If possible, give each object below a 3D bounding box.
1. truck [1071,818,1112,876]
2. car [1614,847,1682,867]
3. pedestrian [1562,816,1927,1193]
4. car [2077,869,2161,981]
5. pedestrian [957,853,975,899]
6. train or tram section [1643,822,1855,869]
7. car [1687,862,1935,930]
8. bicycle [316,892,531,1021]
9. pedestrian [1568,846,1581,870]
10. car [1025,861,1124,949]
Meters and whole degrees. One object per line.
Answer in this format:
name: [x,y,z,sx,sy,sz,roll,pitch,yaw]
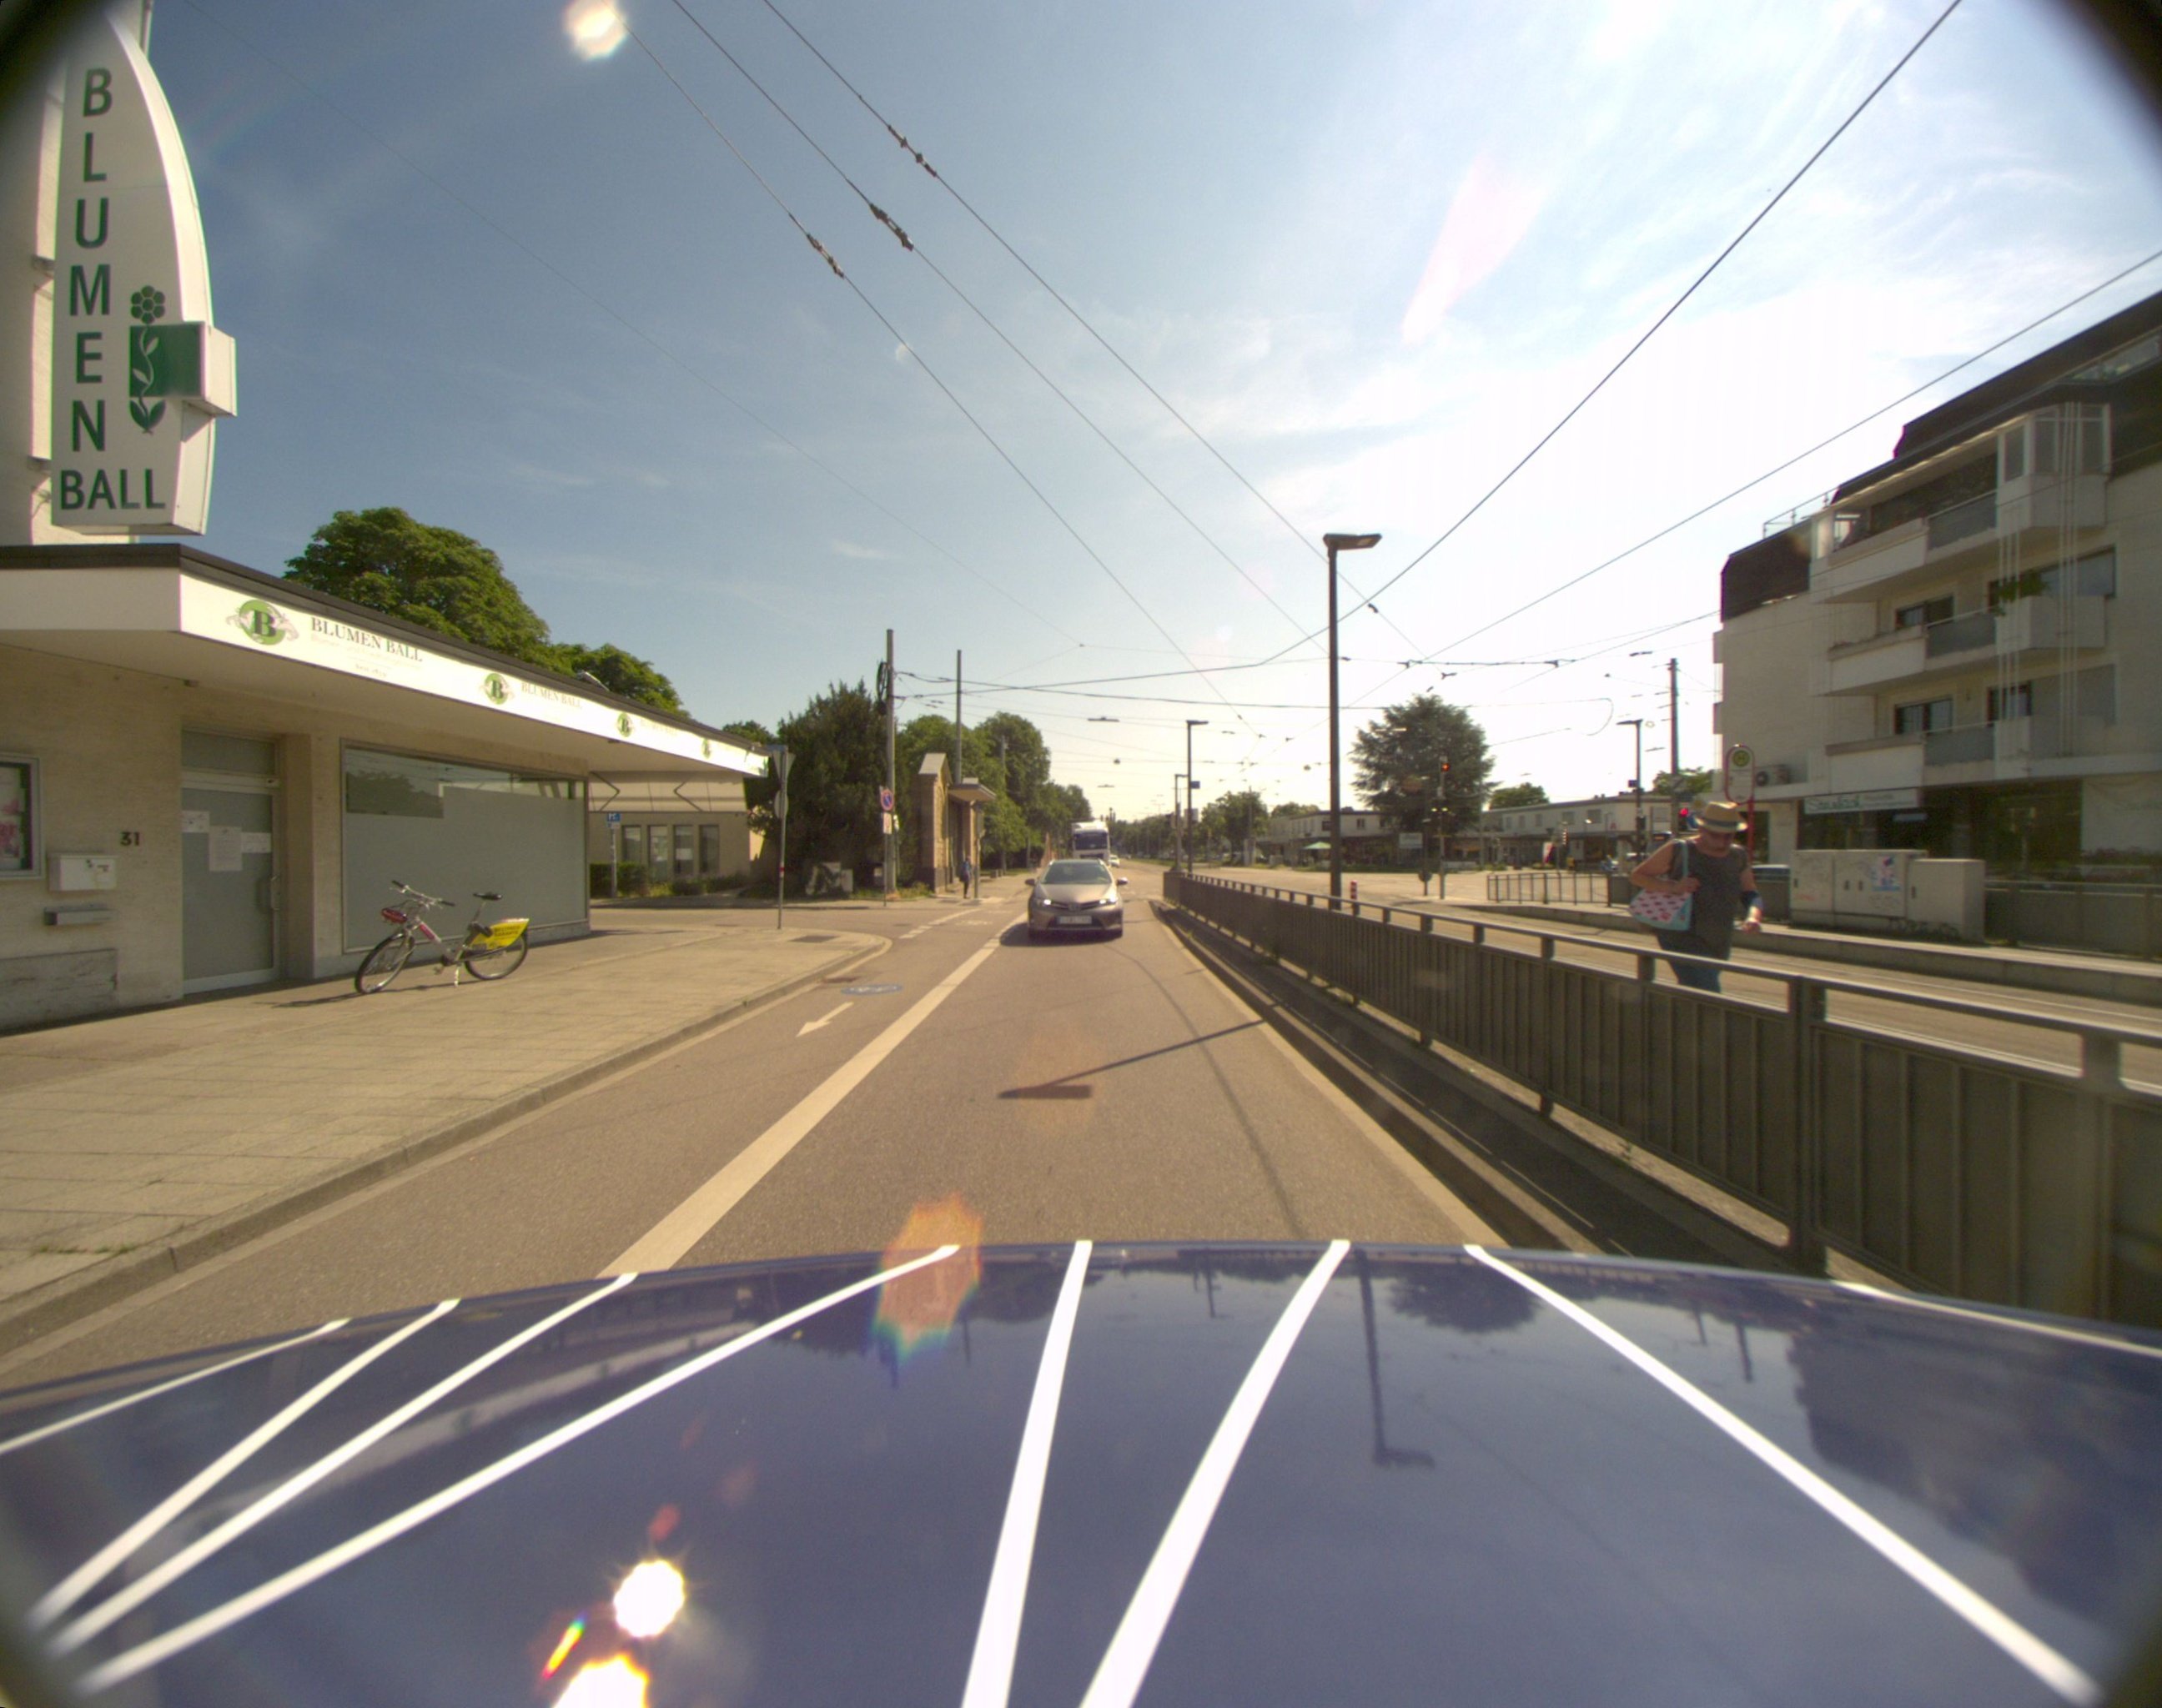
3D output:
truck: [0.705,-0.476,52.802,2.657,3.772,7.863,0,0,1]
car: [50.164,0.288,67.321,4.463,1.740,2.000,0,1,3]
pedestrian: [3.635,0.736,4.336,0.983,1.848,1.237,0,1,1]
car: [15.901,0.982,9.222,1.716,1.507,4.473,-2,0,0]
pedestrian: [-4.166,0.794,27.583,0.499,1.617,0.500,2,1,8]
train or tram section: [50.523,-0.629,57.774,13.325,3.460,2.689,0,1,3]
car: [16.286,0.866,17.295,1.716,1.236,4.078,-2,1,0]
bicycle: [-6.864,1.014,8.052,0.511,1.127,1.693,0,1,18]
pedestrian: [39.432,0.323,60.718,0.608,1.892,0.606,0,1,-24]
car: [-0.089,0.903,15.465,1.695,1.440,4.481,-1,0,1]
